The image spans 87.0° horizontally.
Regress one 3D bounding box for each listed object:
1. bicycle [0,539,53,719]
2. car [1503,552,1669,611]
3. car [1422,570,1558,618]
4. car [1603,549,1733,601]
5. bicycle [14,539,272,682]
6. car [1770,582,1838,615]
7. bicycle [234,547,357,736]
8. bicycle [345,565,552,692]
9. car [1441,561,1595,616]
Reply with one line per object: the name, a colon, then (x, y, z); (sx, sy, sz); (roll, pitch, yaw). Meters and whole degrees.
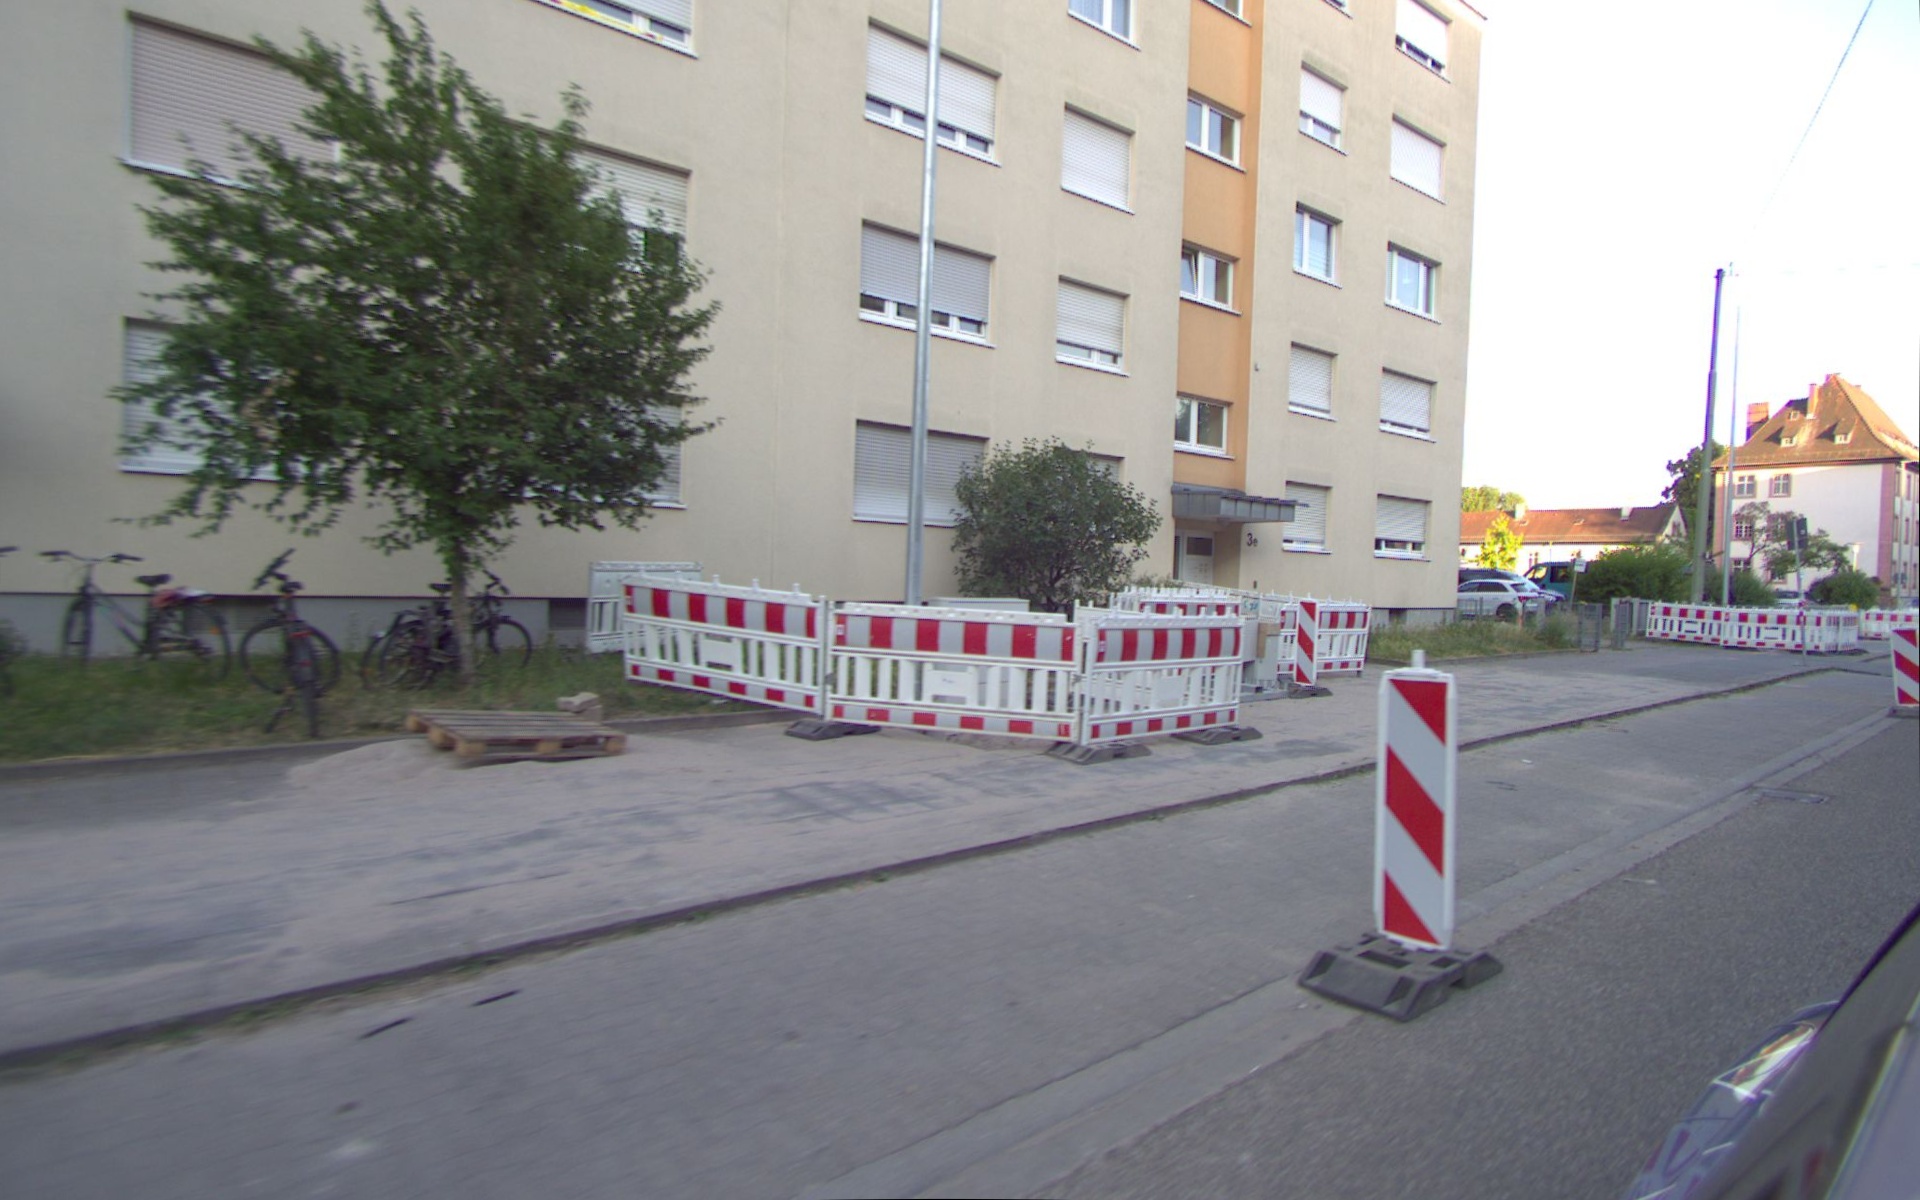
bicycle: (-6.256, 0.178, 6.323); (0.547, 0.998, 1.762); (1, 6, -31)
car: (24.527, -0.744, 39.842); (2.245, 2.156, 5.041); (1, 1, -33)
car: (18.470, -0.243, 35.394); (1.664, 1.470, 3.841); (0, 2, -38)
car: (32.141, -1.148, 46.067); (1.962, 2.224, 4.438); (1, 1, -36)
bicycle: (-6.507, 0.060, 8.081); (1.787, 0.931, 0.557); (5, 5, 9)
car: (44.263, -0.074, 53.028); (4.722, 1.650, 1.919); (0, 2, -40)
bicycle: (-4.734, 0.220, 7.158); (0.548, 1.034, 1.817); (0, 7, -39)
bicycle: (-4.274, 0.189, 8.581); (0.551, 0.875, 1.604); (6, 6, 21)
car: (20.405, -0.461, 37.154); (1.968, 1.832, 4.492); (0, 2, -38)
